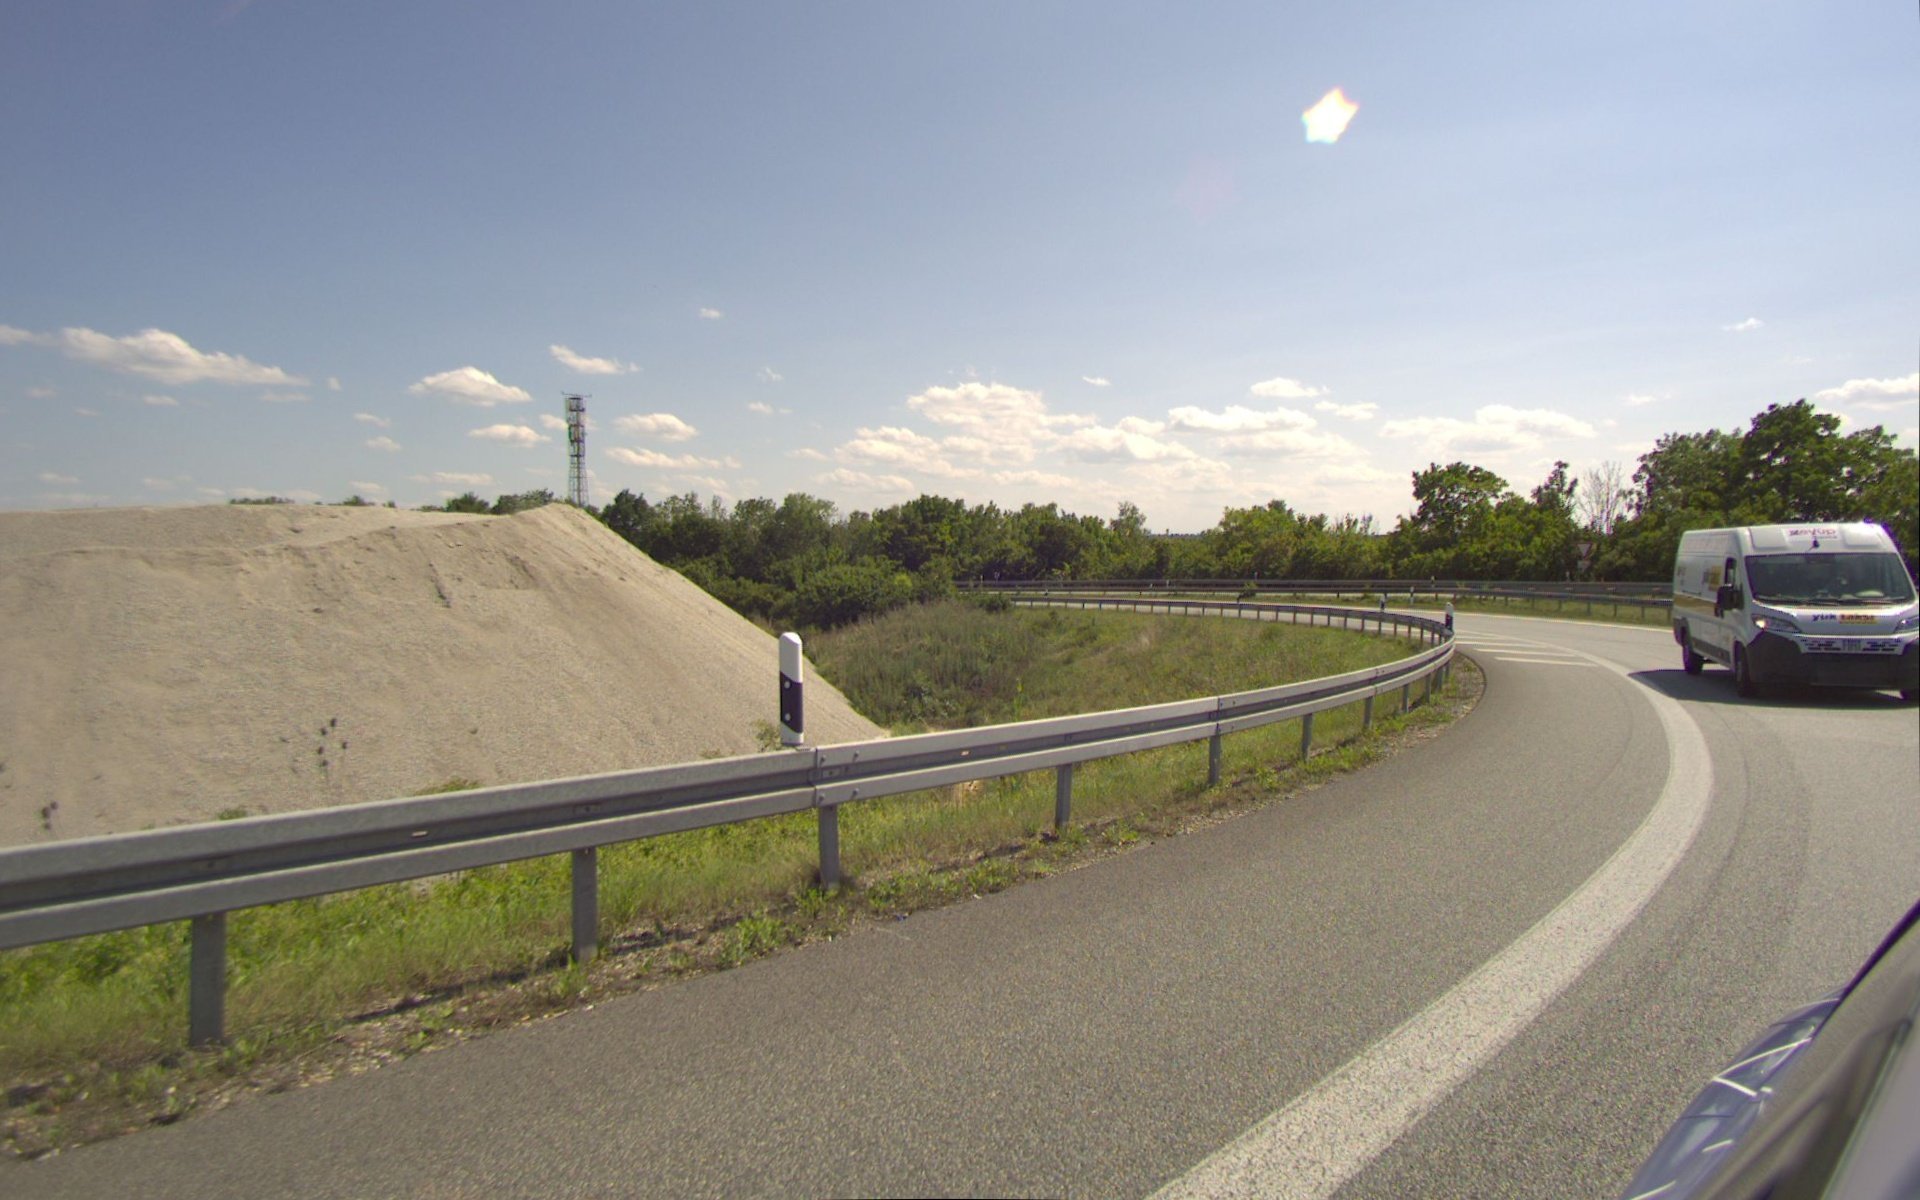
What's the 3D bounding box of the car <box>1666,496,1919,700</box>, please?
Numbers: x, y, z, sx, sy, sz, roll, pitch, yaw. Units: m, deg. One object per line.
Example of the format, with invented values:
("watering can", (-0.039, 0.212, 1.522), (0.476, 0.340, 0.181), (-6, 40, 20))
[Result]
("car", (12.954, -0.095, 15.866), (2.068, 2.555, 6.180), (-4, 0, 27))
